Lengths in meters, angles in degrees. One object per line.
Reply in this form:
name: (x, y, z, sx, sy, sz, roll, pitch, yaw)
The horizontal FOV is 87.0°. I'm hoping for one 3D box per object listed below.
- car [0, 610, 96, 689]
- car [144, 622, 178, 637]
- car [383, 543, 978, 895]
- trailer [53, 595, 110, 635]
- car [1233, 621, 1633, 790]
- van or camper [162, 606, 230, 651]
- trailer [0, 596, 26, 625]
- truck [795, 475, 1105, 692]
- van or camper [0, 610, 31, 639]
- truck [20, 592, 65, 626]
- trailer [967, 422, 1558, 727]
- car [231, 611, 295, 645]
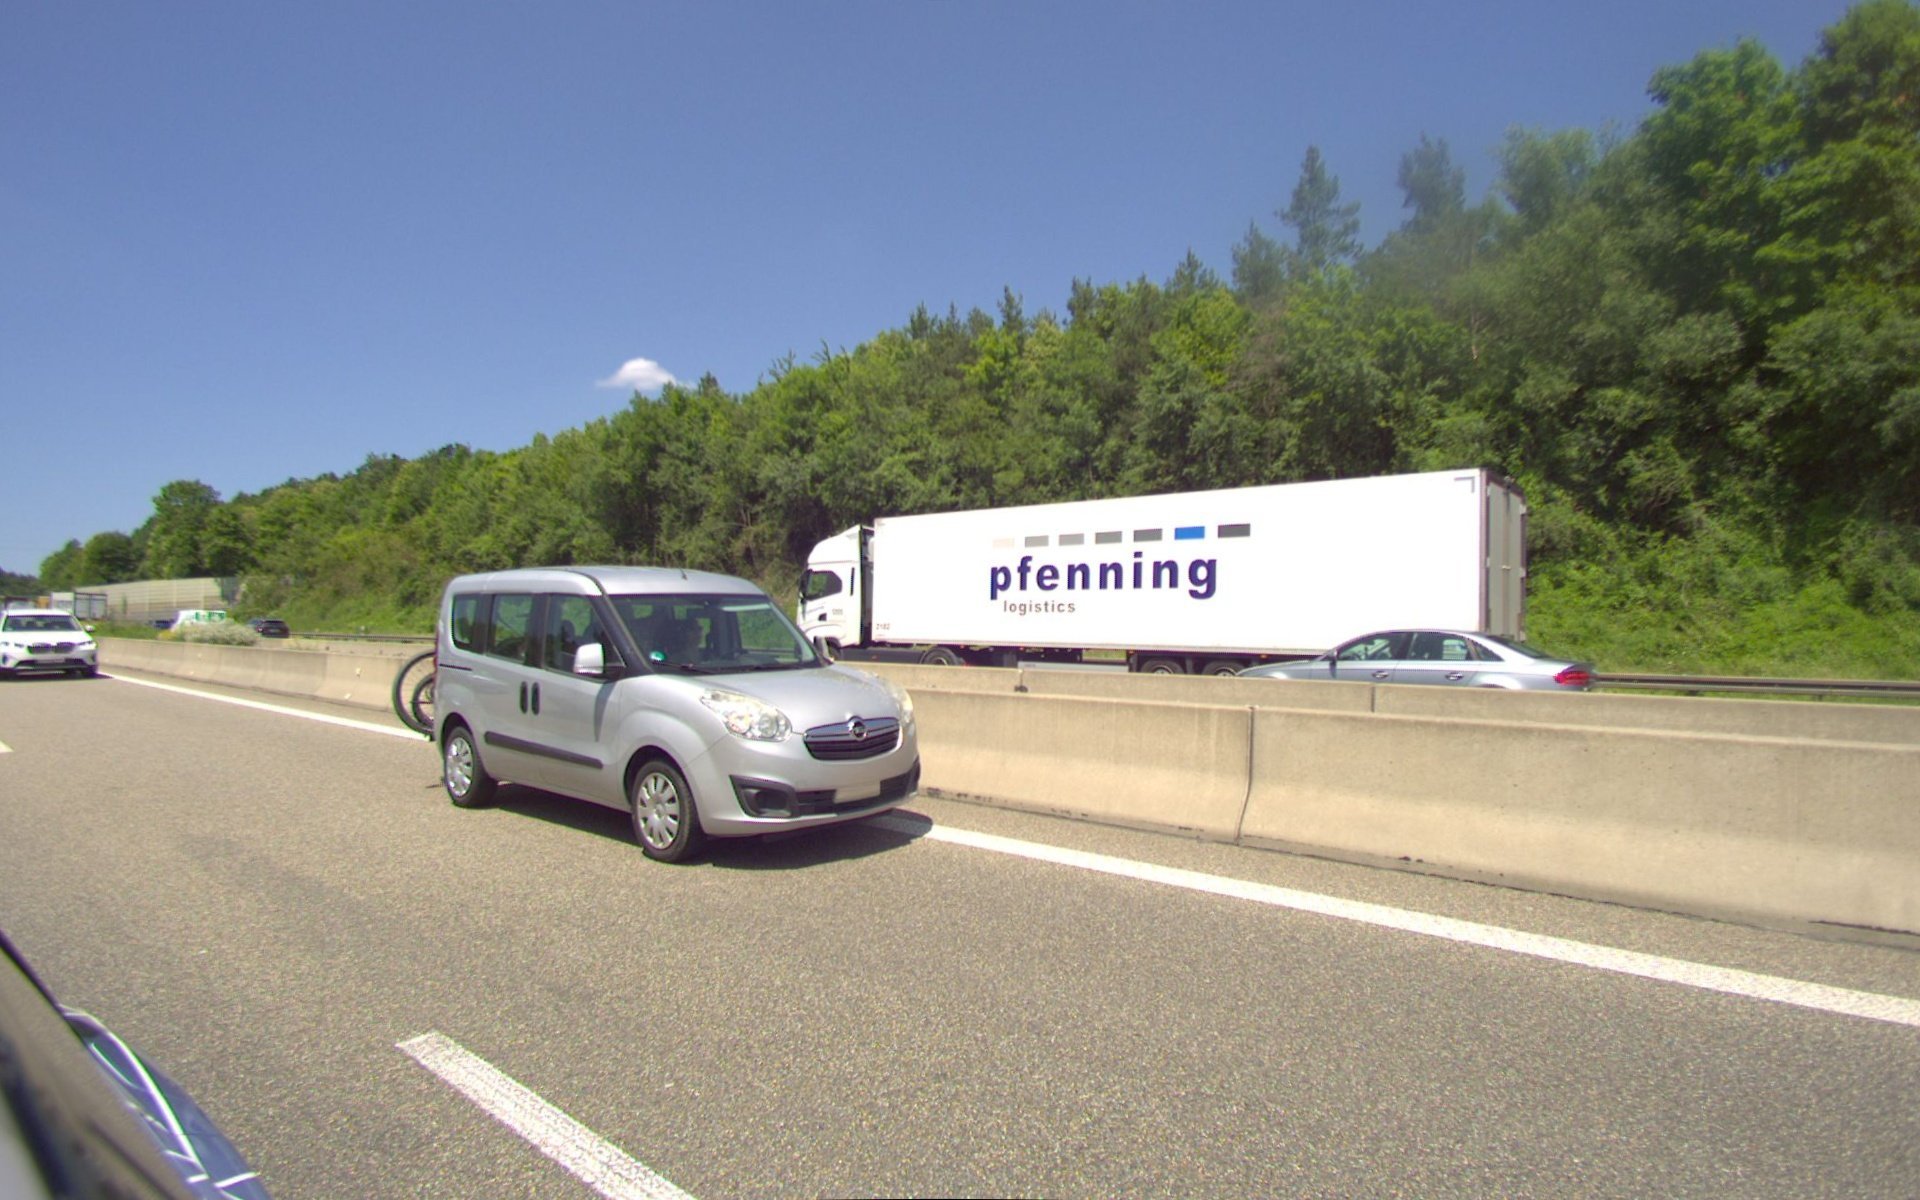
car: (-22.542, 1.134, 24.607, 3.998, 1.719, 1.800, 0, 0, 41)
car: (-75.127, 2.757, 95.117, 4.001, 1.344, 1.971, -1, -2, 44)
car: (-2.332, 0.600, 7.452, 4.915, 1.786, 1.833, 0, 0, 41)
trailer: (-91.139, 1.476, 104.920, 11.394, 3.901, 2.966, 0, 0, 41)
car: (6.136, 1.214, 13.429, 4.449, 1.776, 1.973, 0, 0, 41)
van or camper: (-43.827, 1.585, 58.023, 4.803, 2.403, 1.974, 0, 1, 39)
trailer: (-141.364, 1.471, 149.988, 7.893, 4.226, 3.399, 0, 0, 41)
truck: (-0.446, -0.355, 24.627, 7.513, 4.515, 2.919, 0, 0, 41)
van or camper: (-102.851, 2.607, 109.669, 6.708, 2.898, 2.370, 0, 0, 41)
truck: (-127.619, 1.194, 140.650, 14.093, 4.579, 3.059, 0, 0, 41)
trailer: (5.168, -0.376, 19.682, 10.811, 4.515, 2.918, 0, 0, 41)
car: (-43.591, 1.719, 63.261, 4.473, 2.029, 2.093, 0, 0, 39)
